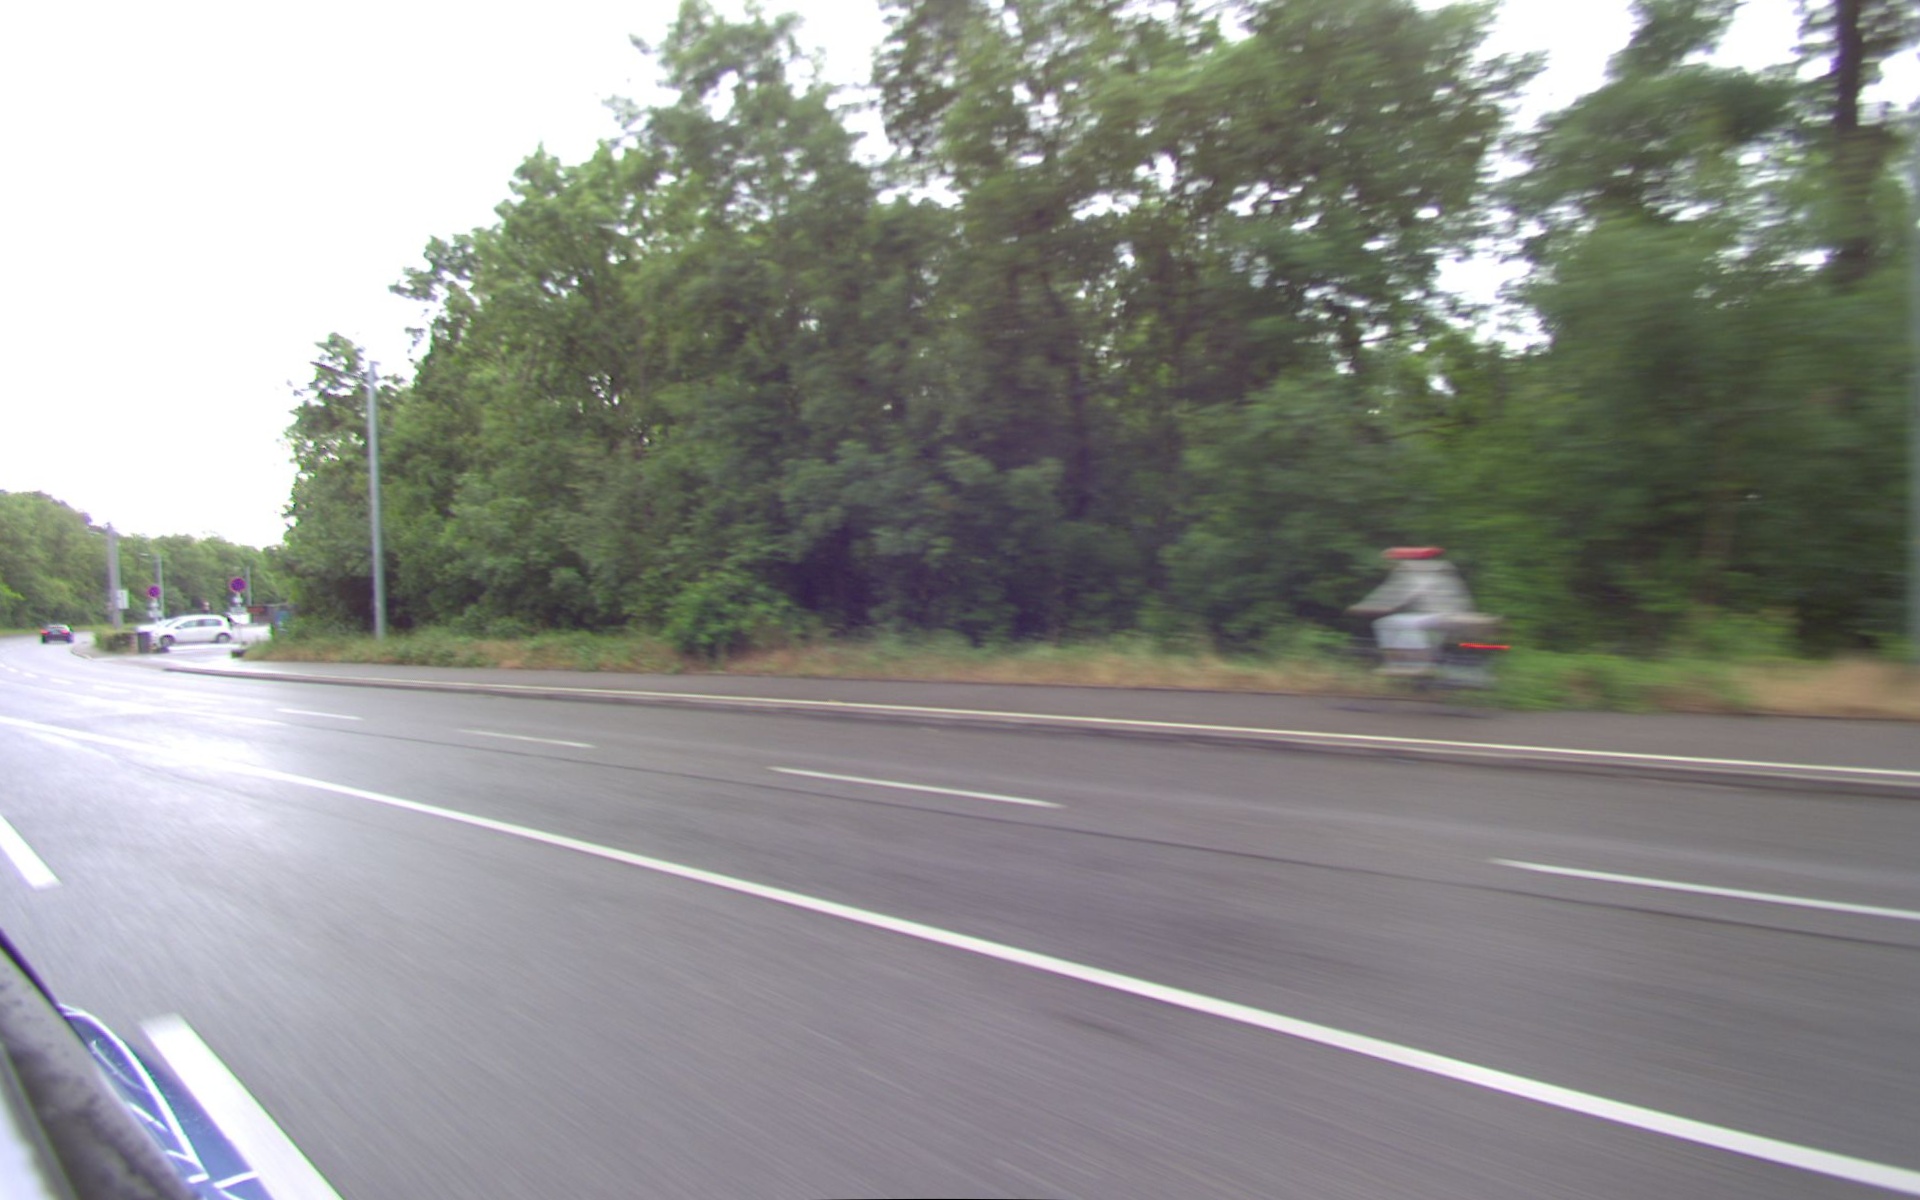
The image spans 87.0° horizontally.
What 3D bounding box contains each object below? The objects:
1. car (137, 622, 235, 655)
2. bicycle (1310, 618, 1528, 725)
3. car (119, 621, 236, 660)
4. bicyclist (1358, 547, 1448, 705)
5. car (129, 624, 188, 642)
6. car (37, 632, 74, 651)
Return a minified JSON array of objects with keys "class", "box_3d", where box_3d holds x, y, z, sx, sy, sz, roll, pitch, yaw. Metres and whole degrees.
[{"class":"car","box_3d":[-44.460,2.159,58.182,4.317,1.613,1.758,-2,1,-42]},{"class":"bicycle","box_3d":[4.779,0.726,10.656,2.017,1.011,0.447,-2,1,42]},{"class":"car","box_3d":[-41.256,2.089,53.428,4.686,1.729,1.896,-2,1,-44]},{"class":"bicyclist","box_3d":[4.684,0.265,10.707,0.700,1.598,0.572,-1,-1,43]},{"class":"car","box_3d":[-74.260,3.053,93.817,4.147,1.495,1.909,0,-1,-44]},{"class":"car","box_3d":[-72.085,3.267,80.686,1.828,1.484,3.921,1,-2,-37]}]
